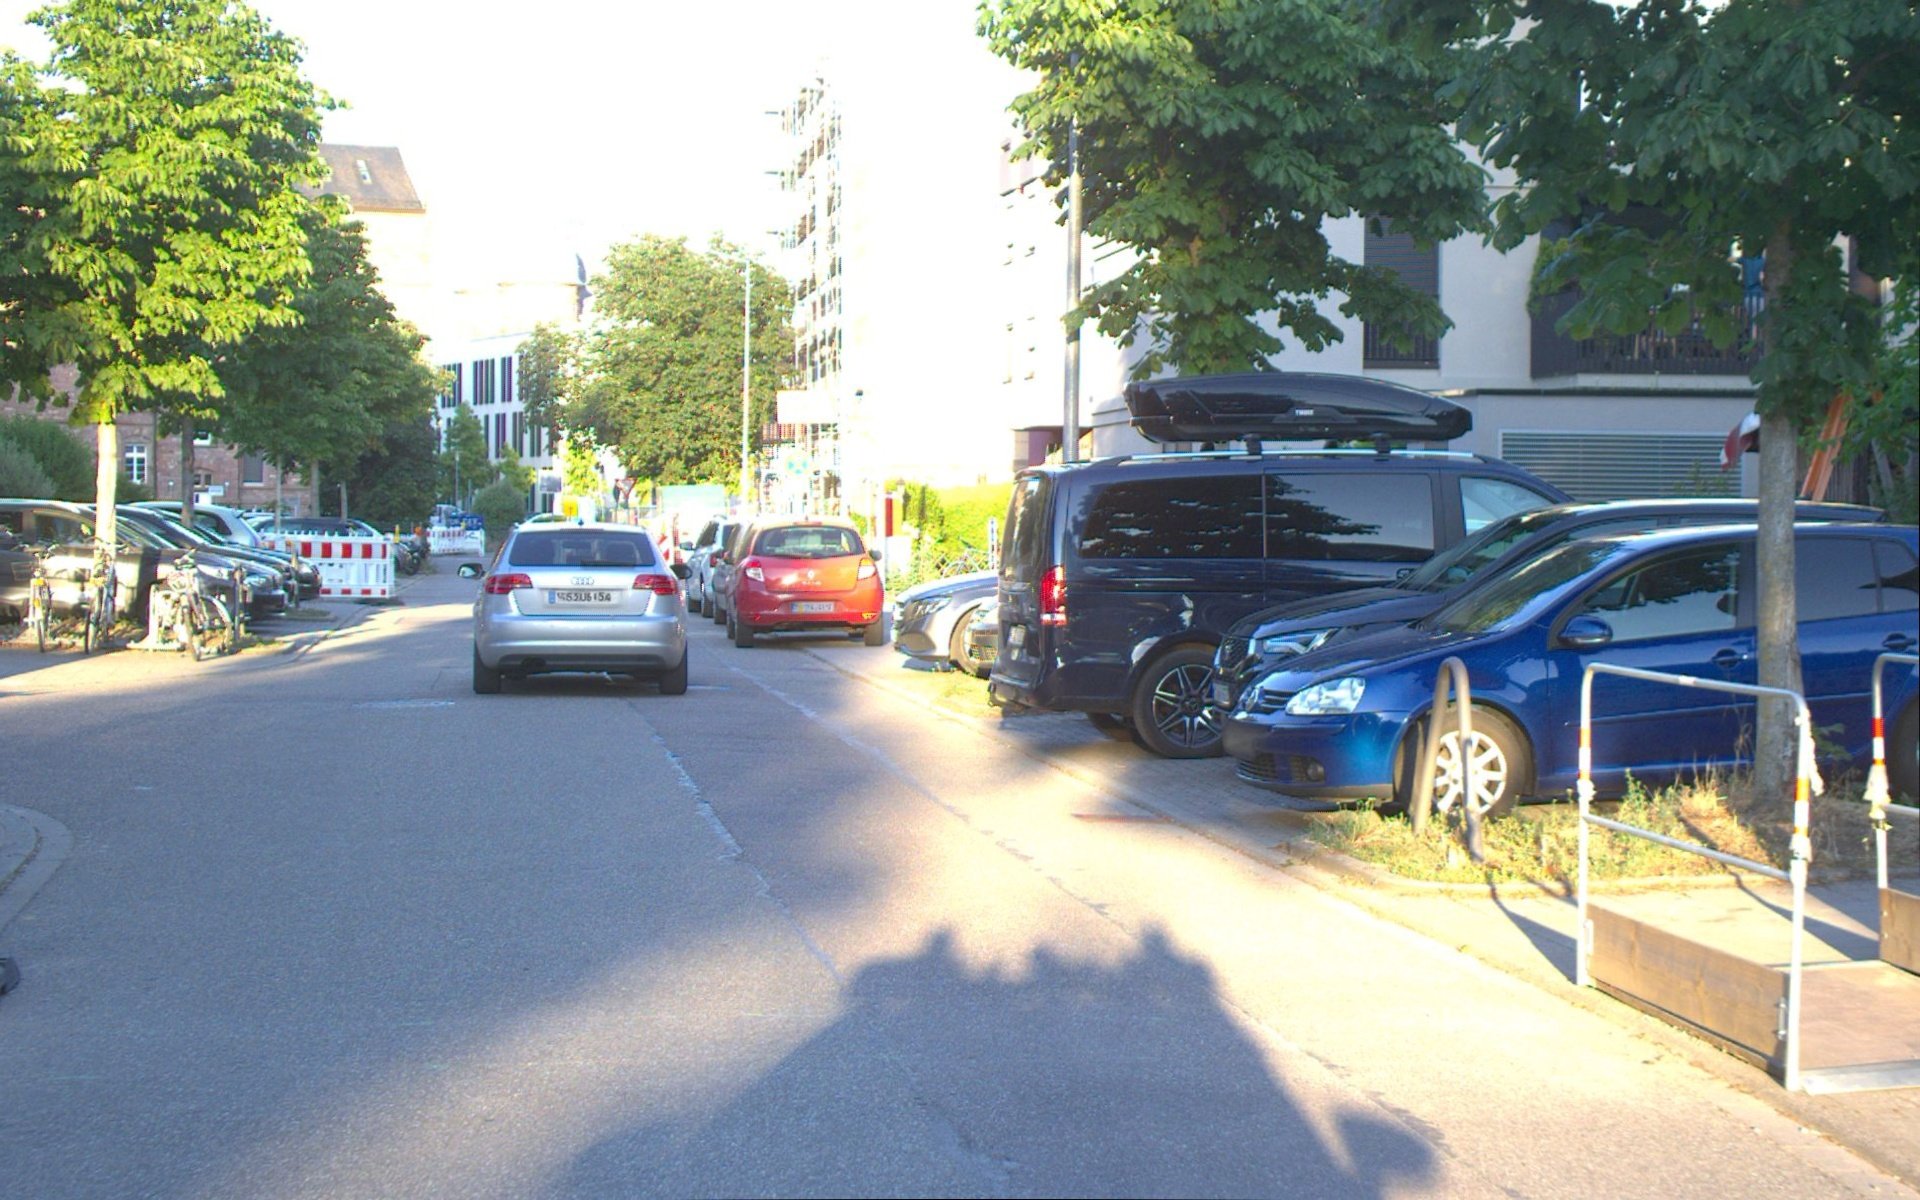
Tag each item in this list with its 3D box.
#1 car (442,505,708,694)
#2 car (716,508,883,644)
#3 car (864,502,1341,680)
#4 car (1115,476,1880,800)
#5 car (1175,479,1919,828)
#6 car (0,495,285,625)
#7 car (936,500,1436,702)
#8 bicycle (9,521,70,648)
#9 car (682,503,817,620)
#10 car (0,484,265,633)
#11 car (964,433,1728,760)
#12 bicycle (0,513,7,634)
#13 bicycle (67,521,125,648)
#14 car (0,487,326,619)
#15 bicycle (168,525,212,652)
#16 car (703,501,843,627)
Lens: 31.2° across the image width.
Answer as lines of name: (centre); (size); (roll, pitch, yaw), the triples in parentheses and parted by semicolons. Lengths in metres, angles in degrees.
car: (-3.329, -0.050, 29.113); (1.807, 1.483, 4.001); (0, 1, -13)
car: (-1.920, -0.318, 40.177); (1.730, 1.478, 3.558); (1, 2, -6)
car: (1.310, -0.096, 32.418); (4.148, 1.566, 1.798); (1, 2, -12)
car: (3.083, 0.198, 20.222); (3.986, 1.762, 2.001); (1, 2, -9)
car: (3.269, 0.252, 17.506); (3.986, 1.645, 1.765); (1, 2, -12)
car: (-10.270, -0.501, 41.705); (3.986, 1.475, 2.001); (1, 2, -9)
car: (1.933, -0.007, 30.017); (3.938, 1.643, 1.977); (1, 2, -12)
bicycle: (-9.272, -0.172, 34.662); (0.406, 1.223, 1.988); (1, 2, -10)
car: (-3.124, -0.592, 50.473); (1.808, 1.607, 3.582); (1, 2, -6)
car: (-10.011, -0.498, 39.200); (3.986, 1.620, 2.001); (1, 2, -9)
car: (2.457, -0.038, 22.566); (4.555, 2.016, 2.102); (0, 2, -9)
bicycle: (-9.916, -0.257, 34.621); (0.406, 1.223, 1.988); (1, 2, -10)
bicycle: (-8.716, -0.172, 34.717); (0.406, 1.223, 1.988); (1, 2, -10)
car: (-10.264, -0.613, 44.428); (3.986, 1.600, 1.874); (1, 2, -9)
bicycle: (-7.784, -0.128, 34.765); (0.405, 1.223, 1.988); (1, 2, -12)
car: (-2.523, -0.507, 45.713); (1.663, 1.568, 3.441); (1, 2, -6)
